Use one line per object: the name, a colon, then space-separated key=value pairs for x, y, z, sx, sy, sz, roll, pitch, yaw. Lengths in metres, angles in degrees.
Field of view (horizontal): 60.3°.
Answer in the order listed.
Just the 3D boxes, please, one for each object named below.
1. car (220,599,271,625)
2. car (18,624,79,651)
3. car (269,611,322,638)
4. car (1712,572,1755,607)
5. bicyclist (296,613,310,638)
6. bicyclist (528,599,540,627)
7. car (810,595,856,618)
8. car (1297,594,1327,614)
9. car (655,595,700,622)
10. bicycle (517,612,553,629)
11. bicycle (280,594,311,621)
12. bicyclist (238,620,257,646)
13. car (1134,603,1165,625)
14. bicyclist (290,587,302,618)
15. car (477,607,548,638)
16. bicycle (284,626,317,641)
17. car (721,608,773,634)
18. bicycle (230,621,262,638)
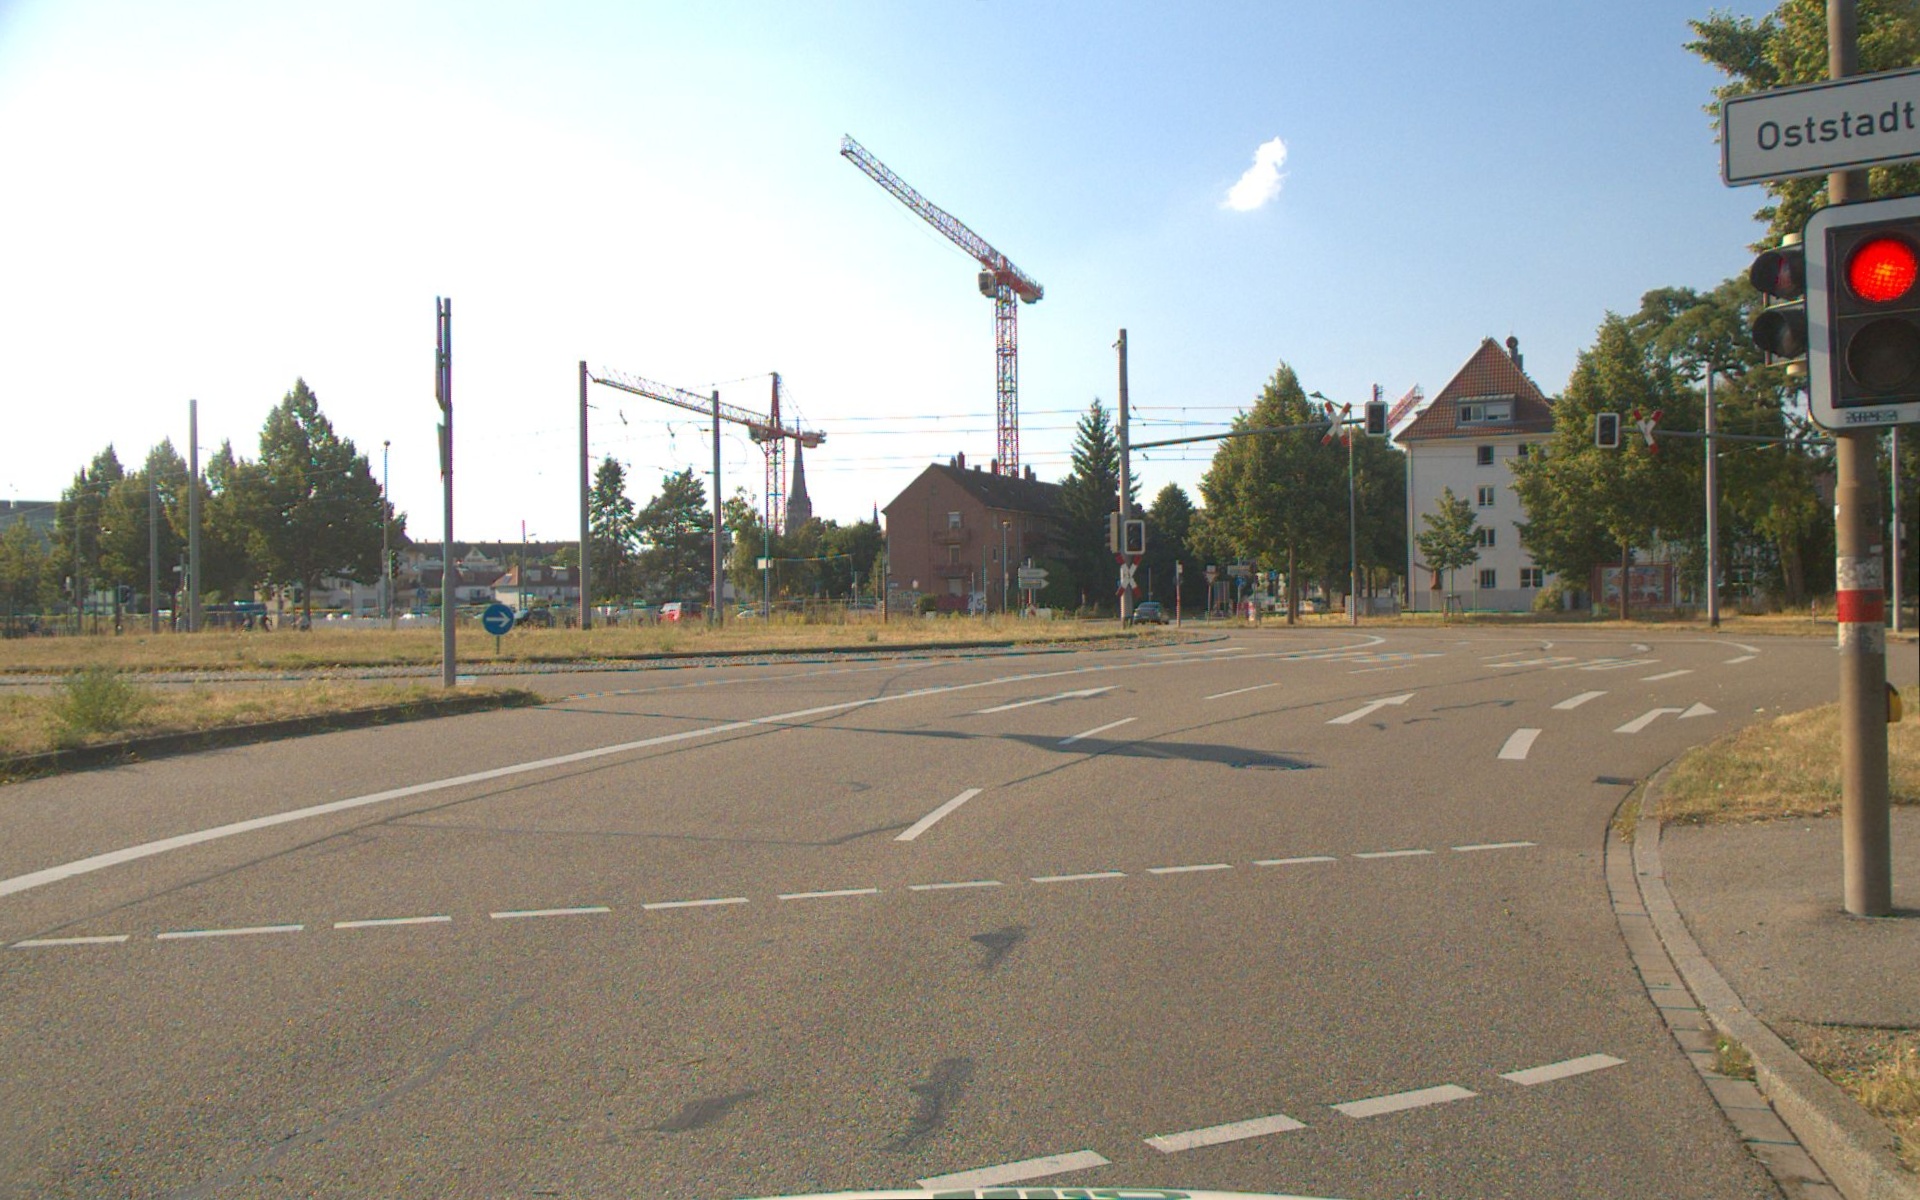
car: x=-58.297 y=0.987 z=134.976 sx=3.917 sy=2.049 sz=1.994 roll=-1 pitch=0 yaw=34
car: x=-46.367 y=1.914 z=84.142 sx=2.645 sy=1.283 sz=1.100 roll=-1 pitch=0 yaw=-36
car: x=-52.169 y=1.930 z=129.805 sx=3.917 sy=2.049 sz=1.994 roll=-1 pitch=0 yaw=34
car: x=38.675 y=-0.514 z=82.671 sx=1.737 sy=1.646 sz=3.963 roll=-1 pitch=-1 yaw=27
bicyclist: x=-36.787 y=1.423 z=92.622 sx=0.644 sy=1.349 sz=0.514 roll=-1 pitch=0 yaw=-26
bicyclist: x=-24.379 y=0.740 z=94.681 sx=0.610 sy=1.537 sz=0.418 roll=-1 pitch=0 yaw=-6
car: x=-11.457 y=0.588 z=149.258 sx=3.728 sy=2.049 sz=1.673 roll=-1 pitch=-1 yaw=18
car: x=33.704 y=0.372 z=158.334 sx=1.953 sy=1.811 sz=3.998 roll=1 pitch=0 yaw=24
car: x=-19.825 y=0.594 z=115.832 sx=1.899 sy=1.886 sz=3.960 roll=-1 pitch=0 yaw=-29
bicycle: x=-24.335 y=1.192 z=94.688 sx=1.949 sy=0.934 sz=0.429 roll=-1 pitch=0 yaw=-6
bicycle: x=-36.767 y=0.417 z=91.539 sx=1.520 sy=1.499 sz=0.475 roll=-1 pitch=0 yaw=-26
bicyclist: x=-39.129 y=1.826 z=90.830 sx=0.943 sy=1.381 sz=0.687 roll=-1 pitch=0 yaw=-27
car: x=12.198 y=0.894 z=106.282 sx=1.424 sy=1.323 sz=3.551 roll=-1 pitch=0 yaw=16
bicyclist: x=-36.749 y=0.127 z=91.516 sx=0.599 sy=1.701 sz=0.474 roll=-1 pitch=-1 yaw=-25
car: x=-28.274 y=1.394 z=104.489 sx=3.950 sy=1.847 sz=1.977 roll=-1 pitch=0 yaw=-33
bicycle: x=-36.913 y=1.881 z=92.544 sx=1.695 sy=0.757 sz=0.476 roll=-1 pitch=0 yaw=-27
car: x=-17.040 y=1.683 z=132.225 sx=3.728 sy=2.049 sz=1.673 roll=-1 pitch=-1 yaw=18
bicycle: x=-39.187 y=1.633 z=90.786 sx=1.595 sy=0.875 sz=0.540 roll=-1 pitch=0 yaw=-27
